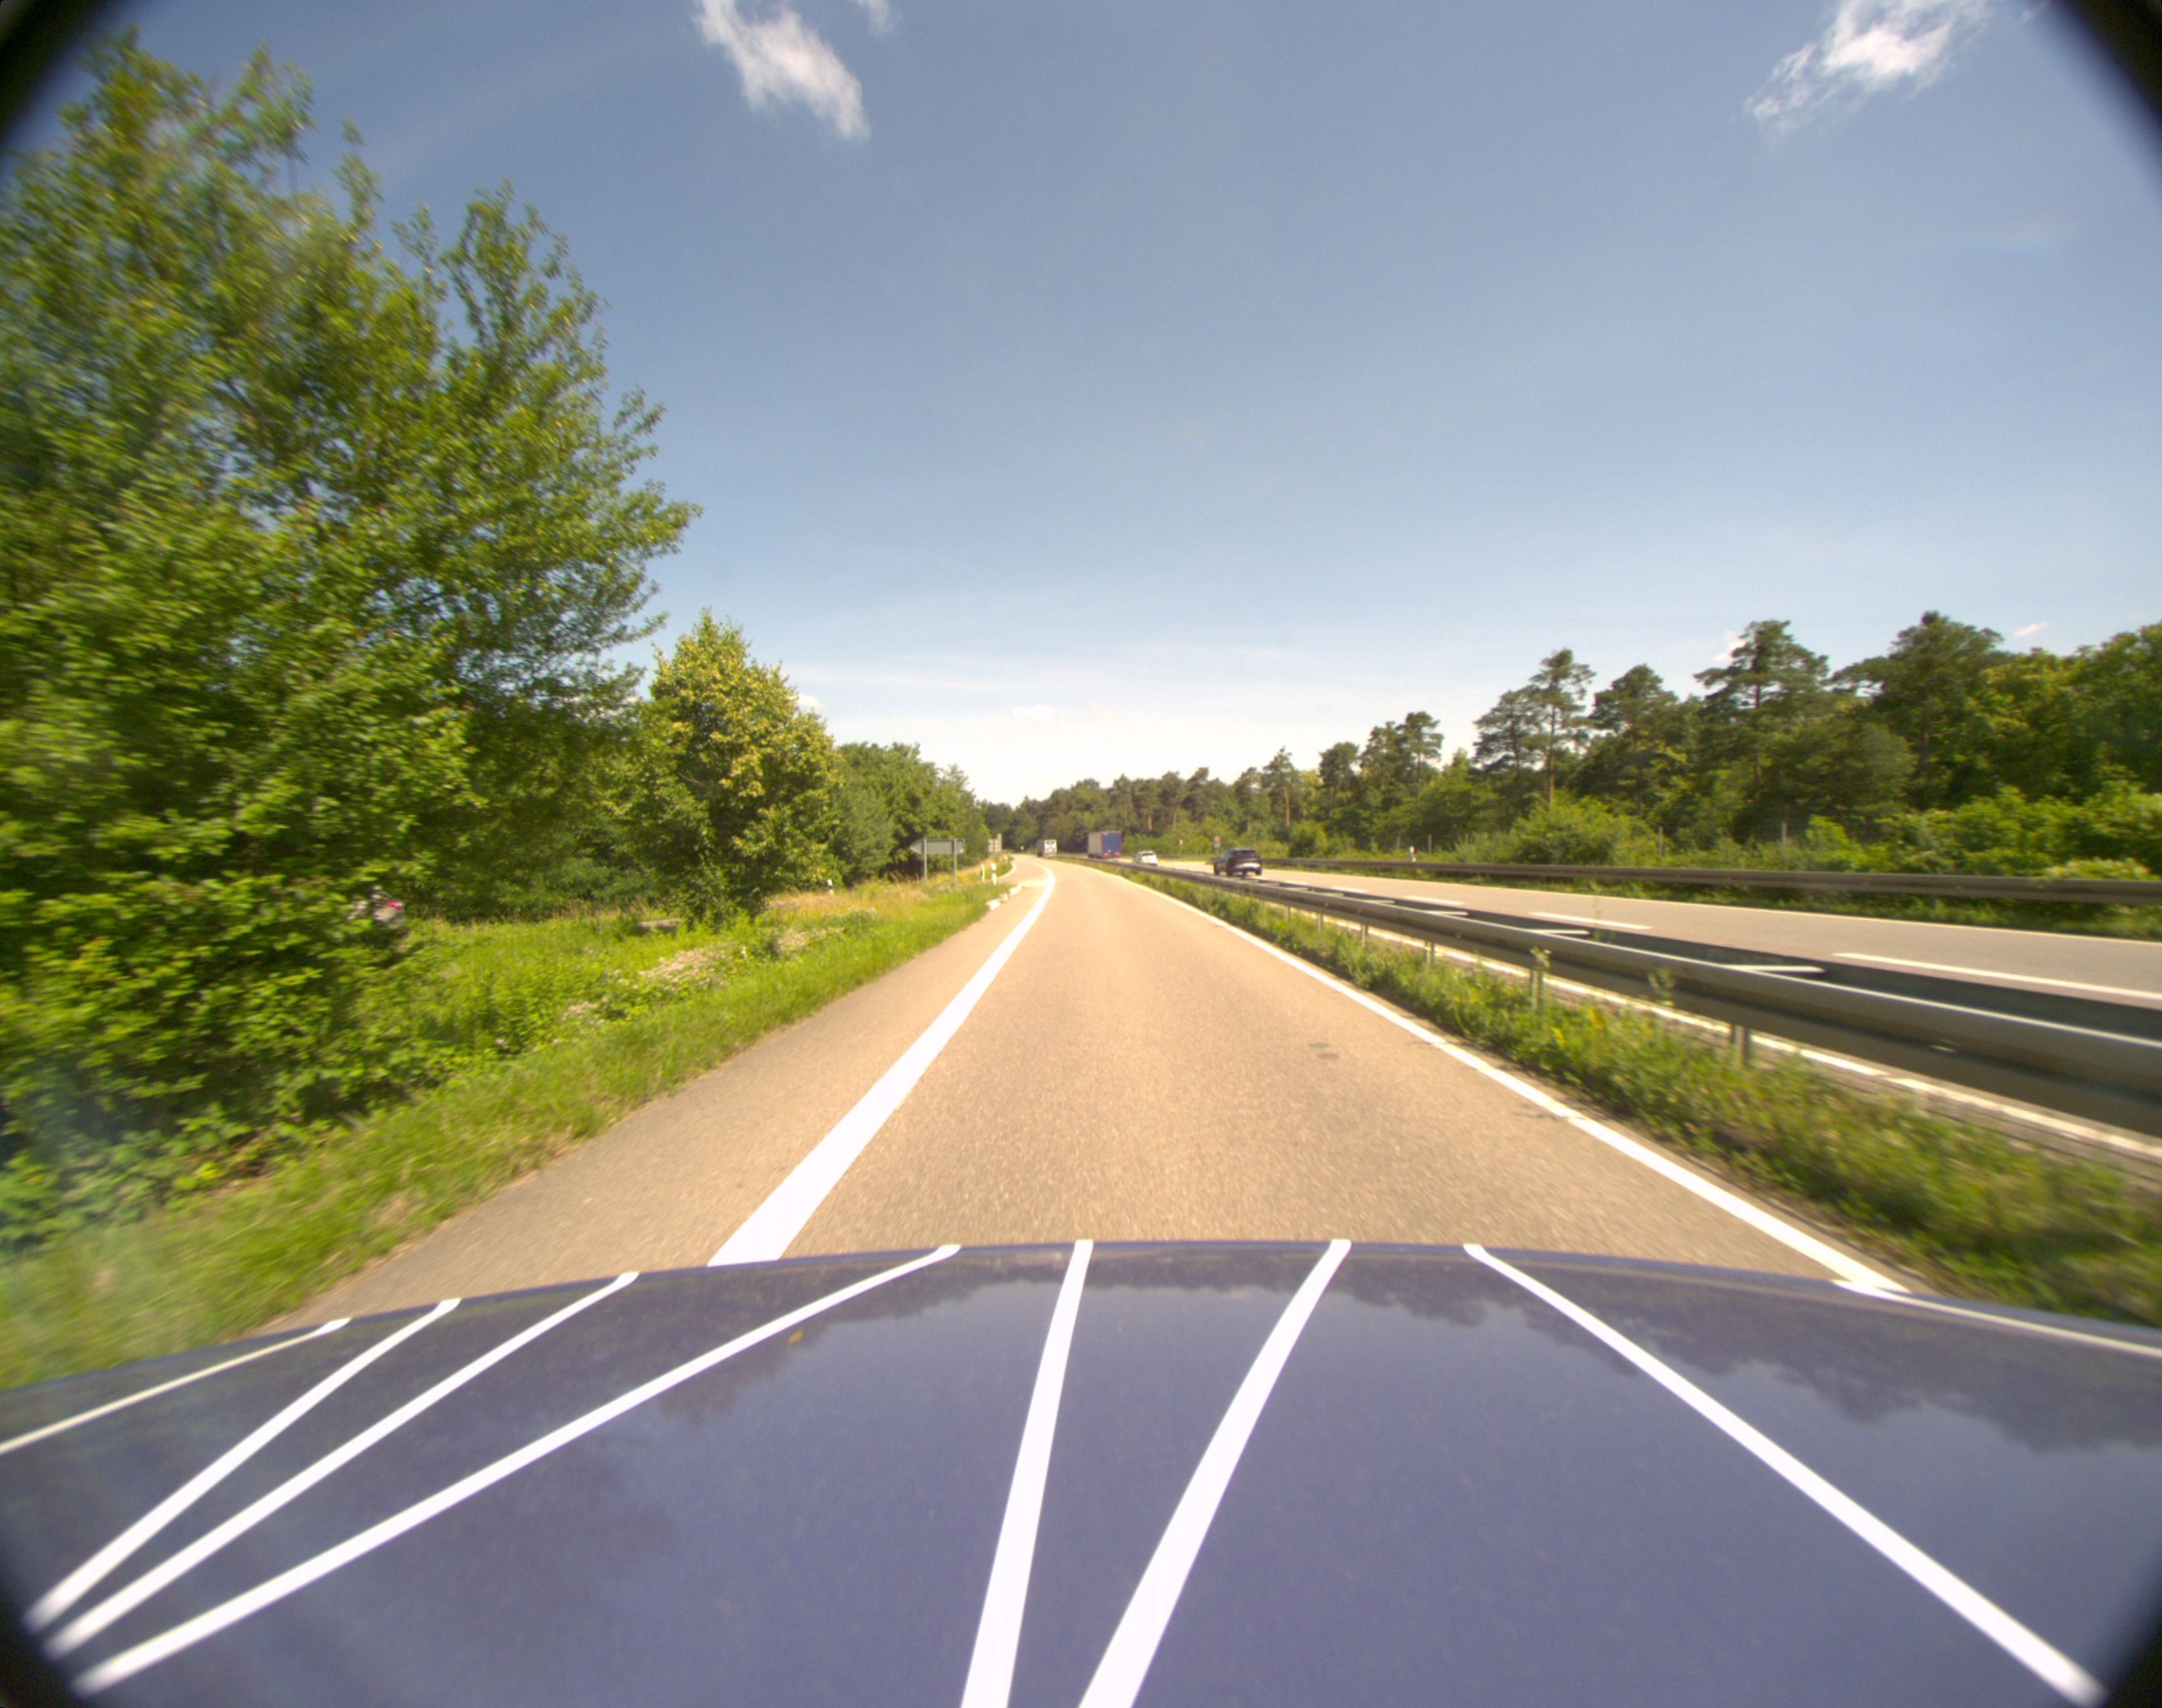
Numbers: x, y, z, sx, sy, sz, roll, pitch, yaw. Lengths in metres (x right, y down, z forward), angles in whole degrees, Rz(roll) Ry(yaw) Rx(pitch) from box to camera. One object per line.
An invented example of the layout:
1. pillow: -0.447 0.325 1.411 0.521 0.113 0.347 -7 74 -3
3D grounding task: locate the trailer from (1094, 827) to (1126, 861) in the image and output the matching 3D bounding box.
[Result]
1. trailer: 3.771 -1.300 102.388 2.753 4.148 14.576 -3 1 -3

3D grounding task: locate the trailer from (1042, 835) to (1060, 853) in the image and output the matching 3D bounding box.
1. trailer: -7.184 -2.363 180.703 2.677 4.164 14.051 -3 1 -8

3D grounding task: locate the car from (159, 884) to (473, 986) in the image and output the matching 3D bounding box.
1. car: -17.259 1.732 17.453 1.895 1.656 4.673 -4 1 31

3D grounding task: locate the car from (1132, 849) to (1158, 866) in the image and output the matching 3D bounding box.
1. car: 5.811 0.320 69.284 1.799 1.436 4.605 -2 0 -2

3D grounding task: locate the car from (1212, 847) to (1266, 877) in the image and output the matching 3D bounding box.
1. car: 8.522 0.392 41.262 1.760 1.492 4.572 -3 0 -2
